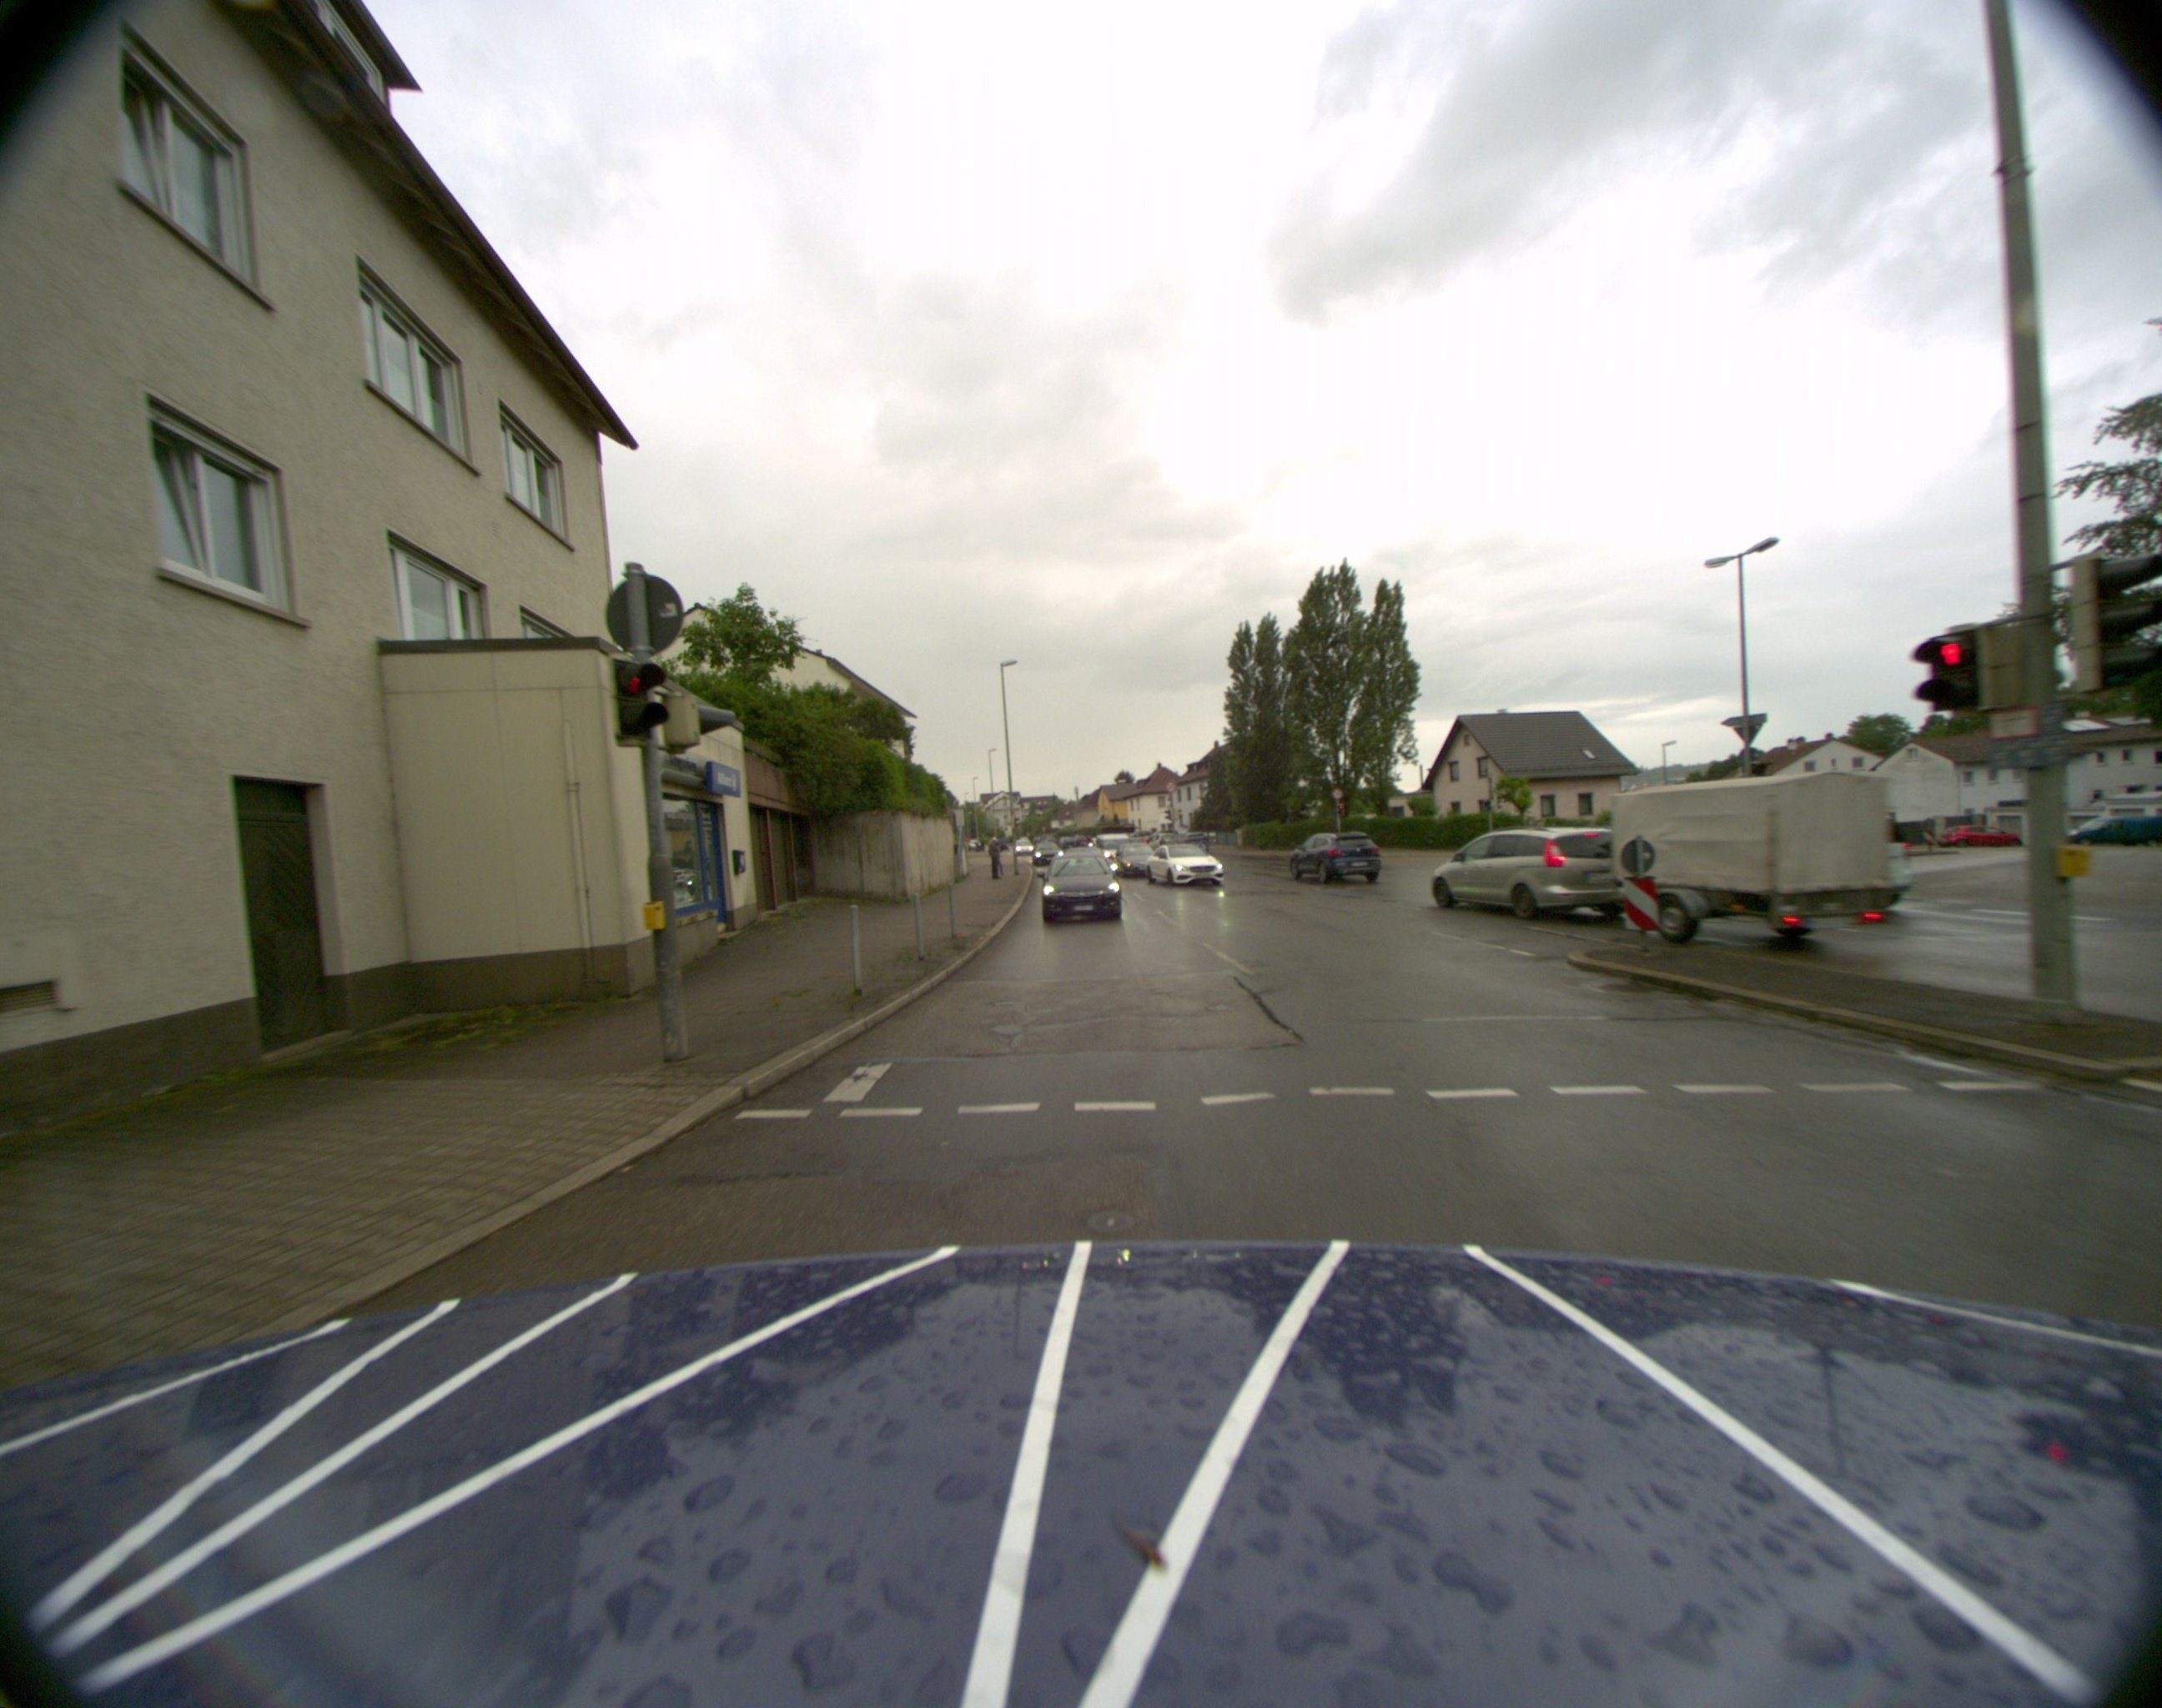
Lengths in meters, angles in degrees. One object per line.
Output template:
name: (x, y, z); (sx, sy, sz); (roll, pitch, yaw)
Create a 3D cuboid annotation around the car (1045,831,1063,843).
car: (-3.584, -2.337, 100.943); (1.717, 1.494, 3.995); (-3, 2, -10)

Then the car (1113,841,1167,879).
car: (2.551, 0.212, 33.858); (1.840, 1.479, 4.056); (-3, 2, -3)

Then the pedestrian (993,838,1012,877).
pedestrian: (-3.684, 0.162, 35.771); (0.796, 1.771, 1.011); (-1, 3, -3)

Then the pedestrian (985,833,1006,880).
pedestrian: (-3.795, 0.102, 33.845); (0.799, 2.003, 0.734); (-3, 3, -3)

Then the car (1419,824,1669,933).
car: (8.472, 0.333, 14.480); (1.904, 1.673, 4.477); (-2, 2, -2)

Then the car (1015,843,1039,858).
car: (-5.470, -0.355, 75.983); (1.842, 1.473, 3.995); (-2, 1, -12)

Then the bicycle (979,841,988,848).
bicycle: (-12.734, -1.215, 99.341); (0.733, 0.822, 2.233); (-2, 2, 1)

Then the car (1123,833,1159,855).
car: (4.589, -0.797, 58.594); (2.000, 1.565, 3.996); (-2, 3, -7)

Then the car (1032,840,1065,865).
car: (-2.269, -0.080, 51.775); (1.841, 1.448, 3.999); (-3, -2, -7)

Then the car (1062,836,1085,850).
car: (-0.848, -1.276, 85.702); (1.859, 1.456, 3.995); (-3, 2, -10)

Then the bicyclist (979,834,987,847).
bicyclist: (-12.815, -1.762, 99.271); (0.809, 1.633, 0.906); (-2, 2, 0)

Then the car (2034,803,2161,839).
car: (57.492, -1.839, 42.932); (4.082, 1.839, 1.942); (-1, 2, 28)

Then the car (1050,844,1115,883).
car: (-0.025, 0.369, 31.392); (1.912, 1.390, 4.853); (-3, 0, -9)

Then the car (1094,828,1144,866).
car: (1.992, -0.432, 41.157); (1.957, 1.860, 4.742); (-2, 2, -6)

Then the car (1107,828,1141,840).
car: (5.675, -2.636, 100.802); (4.115, 1.475, 1.837); (1, 1, -16)

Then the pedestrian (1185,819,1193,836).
pedestrian: (11.613, -2.841, 81.824); (0.652, 1.777, 0.648); (-5, 2, 15)

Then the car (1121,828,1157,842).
car: (7.249, -2.340, 95.067); (4.112, 1.412, 1.882); (-5, 2, -9)

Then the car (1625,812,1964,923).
car: (12.577, 0.149, 13.909); (1.829, 1.647, 4.463); (-2, 2, -4)

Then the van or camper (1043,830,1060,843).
van or camper: (-5.028, -3.029, 129.851); (2.191, 2.003, 5.127); (-3, 3, -10)

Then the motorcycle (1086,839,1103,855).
motorcycle: (1.001, -0.548, 57.032); (0.944, 1.101, 2.403); (-3, 2, -7)

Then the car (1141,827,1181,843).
car: (8.930, -2.187, 85.162); (3.999, 1.412, 1.882); (-6, 3, -9)

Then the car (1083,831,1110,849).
car: (1.441, -1.325, 72.035); (1.841, 1.548, 4.765); (-2, 2, -7)

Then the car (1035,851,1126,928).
car: (0.073, 0.731, 17.942); (1.840, 1.390, 3.999); (-3, 2, 3)

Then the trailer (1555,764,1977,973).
trailer: (8.634, 0.123, 10.171); (1.901, 2.166, 4.034); (-2, 1, -2)

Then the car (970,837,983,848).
car: (-15.242, -1.689, 110.579); (1.738, 1.481, 3.995); (-2, 2, -9)

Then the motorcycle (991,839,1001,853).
motorcycle: (-8.609, -0.822, 76.825); (0.694, 1.317, 2.476); (-2, 2, -10)

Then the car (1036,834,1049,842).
car: (-7.351, -3.042, 144.204); (1.890, 1.478, 3.995); (-2, 2, -10)

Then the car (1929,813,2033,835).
car: (60.490, -2.002, 51.173); (4.083, 1.281, 1.911); (-1, 2, 24)

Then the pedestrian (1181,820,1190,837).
pedestrian: (10.959, -2.666, 79.579); (0.670, 1.779, 0.539); (-6, 3, -5)

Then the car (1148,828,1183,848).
car: (6.958, -1.342, 62.884); (1.810, 1.560, 4.138); (-3, 3, -9)

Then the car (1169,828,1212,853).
car: (8.090, -1.026, 56.583); (1.810, 1.660, 4.593); (-3, 3, -9)

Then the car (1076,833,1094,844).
car: (0.513, -2.136, 102.622); (1.810, 1.408, 3.995); (-2, 2, -9)

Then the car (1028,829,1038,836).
car: (-11.600, -5.118, 184.521); (2.000, 1.565, 3.995); (-3, 3, -9)

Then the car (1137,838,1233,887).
car: (3.636, 0.229, 27.419); (1.915, 1.520, 4.645); (-3, 2, -12)

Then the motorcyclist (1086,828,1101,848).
motorcyclist: (0.961, -1.223, 57.016); (0.953, 1.414, 0.992); (-3, 3, -7)

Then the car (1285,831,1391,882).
car: (8.562, 0.020, 25.730); (1.846, 1.543, 4.381); (-2, 2, -4)

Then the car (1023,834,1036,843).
car: (-9.046, -2.739, 134.032); (1.838, 1.521, 3.995); (-2, 2, -9)
